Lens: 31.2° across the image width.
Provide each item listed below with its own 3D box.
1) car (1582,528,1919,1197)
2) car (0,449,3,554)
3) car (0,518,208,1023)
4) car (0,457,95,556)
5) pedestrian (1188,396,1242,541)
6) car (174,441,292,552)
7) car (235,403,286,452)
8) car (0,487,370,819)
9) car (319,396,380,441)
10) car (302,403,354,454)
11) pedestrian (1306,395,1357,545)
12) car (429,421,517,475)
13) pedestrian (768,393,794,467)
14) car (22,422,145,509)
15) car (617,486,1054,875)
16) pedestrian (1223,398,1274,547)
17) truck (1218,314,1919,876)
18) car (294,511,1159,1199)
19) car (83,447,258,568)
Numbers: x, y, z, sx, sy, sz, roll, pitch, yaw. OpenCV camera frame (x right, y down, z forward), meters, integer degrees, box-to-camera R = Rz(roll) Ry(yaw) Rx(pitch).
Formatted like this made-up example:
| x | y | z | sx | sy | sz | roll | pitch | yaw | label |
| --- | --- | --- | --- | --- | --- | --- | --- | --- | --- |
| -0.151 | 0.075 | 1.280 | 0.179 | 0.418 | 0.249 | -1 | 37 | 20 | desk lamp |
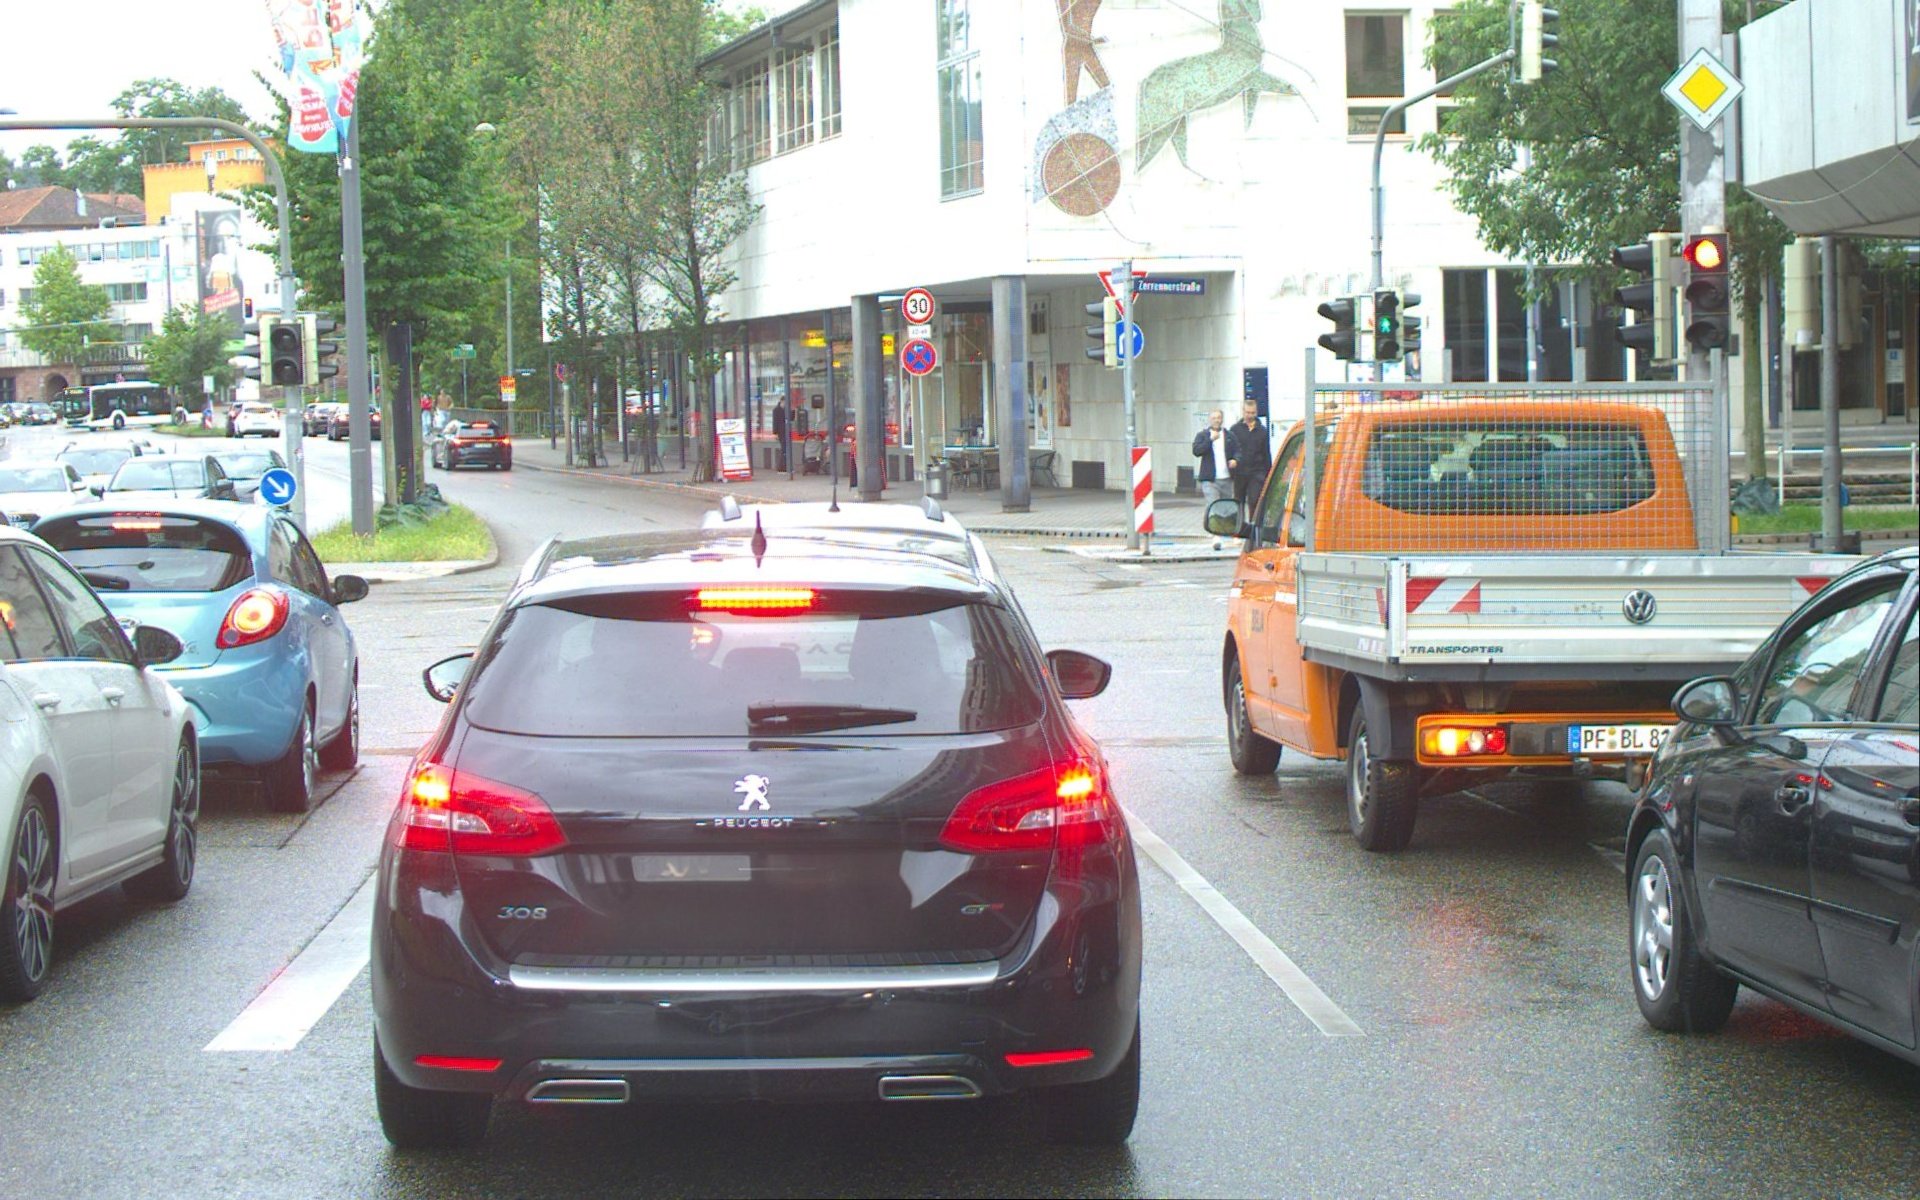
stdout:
| x | y | z | sx | sy | sz | roll | pitch | yaw | label |
| --- | --- | --- | --- | --- | --- | --- | --- | --- | --- |
| 2.834 | 0.558 | 8.642 | 1.616 | 1.424 | 3.843 | 0 | 2 | -3 | car |
| -14.275 | -1.334 | 47.041 | 1.574 | 1.481 | 3.610 | 0 | 2 | -4 | car |
| -3.730 | 0.454 | 11.432 | 1.777 | 1.424 | 3.843 | 0 | 2 | -3 | car |
| -14.640 | -1.490 | 53.918 | 1.632 | 1.481 | 3.610 | 0 | 2 | -7 | car |
| 3.148 | -1.616 | 42.390 | 0.637 | 1.752 | 0.733 | 0 | 0 | 6 | pedestrian |
| -11.545 | -1.614 | 54.779 | 1.744 | 1.634 | 4.001 | 1 | 0 | -11 | car |
| -29.717 | -7.324 | 145.983 | 1.705 | 1.875 | 4.001 | 1 | 0 | -18 | car |
| -3.975 | 0.188 | 17.503 | 1.632 | 1.481 | 3.610 | 0 | 2 | -5 | car |
| -24.036 | -7.135 | 135.300 | 1.724 | 1.485 | 4.734 | 1 | 0 | -18 | car |
| -27.078 | -7.328 | 147.203 | 1.705 | 1.929 | 4.001 | 1 | 0 | -18 | car |
| 4.781 | -1.668 | 44.269 | 0.637 | 1.891 | 0.733 | 0 | 0 | 6 | pedestrian |
| -14.107 | -4.414 | 99.352 | 1.787 | 1.449 | 4.508 | -4 | 4 | -17 | car |
| -4.306 | -4.088 | 82.696 | 0.468 | 1.742 | 0.541 | 1 | 0 | -21 | pedestrian |
| -15.500 | -2.390 | 60.922 | 1.632 | 1.481 | 3.610 | 0 | 2 | -7 | car |
| -0.513 | 0.253 | 15.313 | 1.696 | 1.481 | 3.794 | 1 | 2 | -1 | car |
| 3.732 | -1.643 | 44.457 | 0.637 | 1.891 | 0.733 | 0 | 0 | 6 | pedestrian |
| 2.589 | -0.115 | 15.843 | 2.177 | 2.165 | 5.021 | 1 | 2 | -3 | truck |
| -0.487 | 0.498 | 9.024 | 1.777 | 1.424 | 3.842 | 0 | 2 | 0 | car |
| -10.957 | -1.254 | 47.916 | 1.744 | 1.574 | 4.000 | 1 | 0 | -4 | car |
